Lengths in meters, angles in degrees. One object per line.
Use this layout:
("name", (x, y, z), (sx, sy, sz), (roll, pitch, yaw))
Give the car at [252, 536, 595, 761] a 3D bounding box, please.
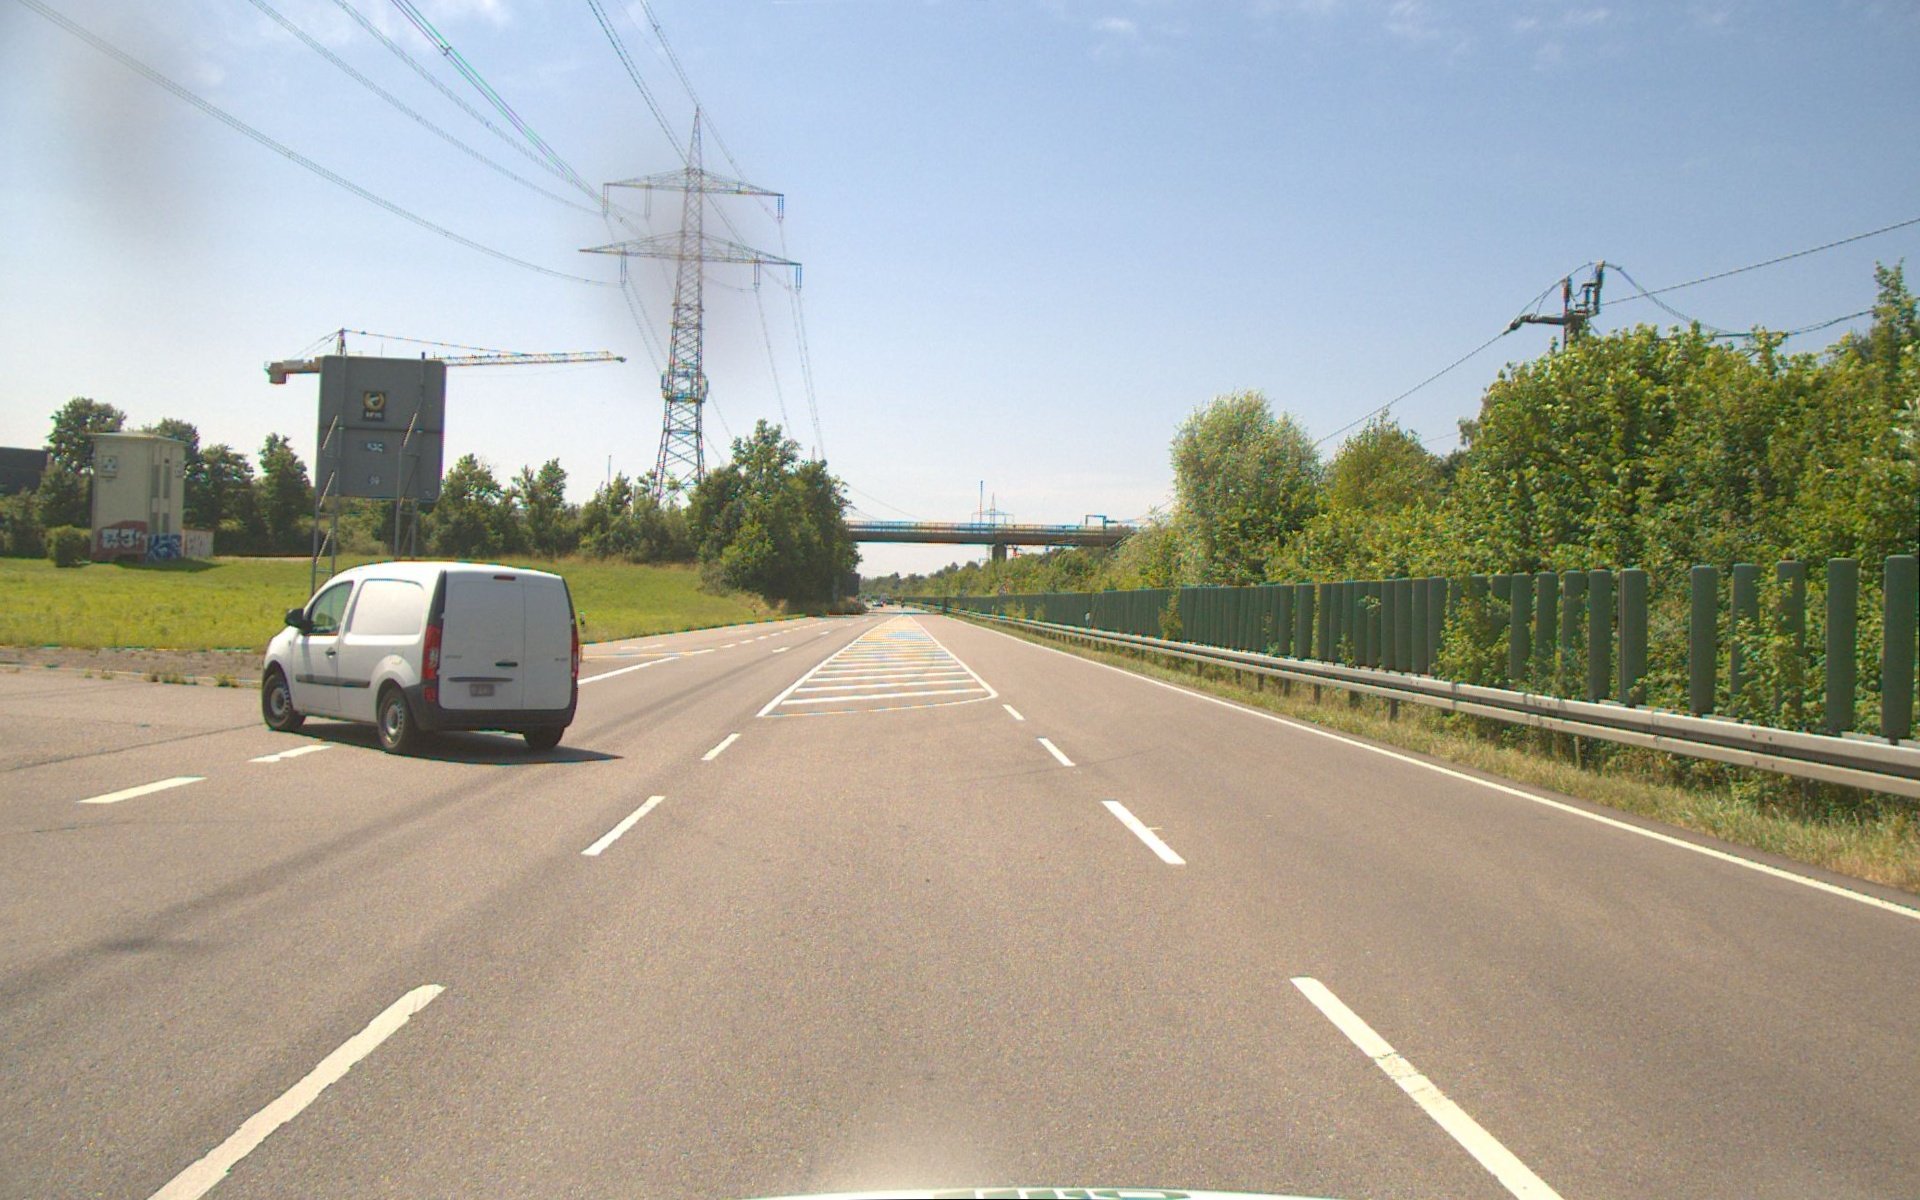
("car", (-5.542, 0.422, 16.822), (1.818, 2.005, 3.936), (1, 0, -43))
